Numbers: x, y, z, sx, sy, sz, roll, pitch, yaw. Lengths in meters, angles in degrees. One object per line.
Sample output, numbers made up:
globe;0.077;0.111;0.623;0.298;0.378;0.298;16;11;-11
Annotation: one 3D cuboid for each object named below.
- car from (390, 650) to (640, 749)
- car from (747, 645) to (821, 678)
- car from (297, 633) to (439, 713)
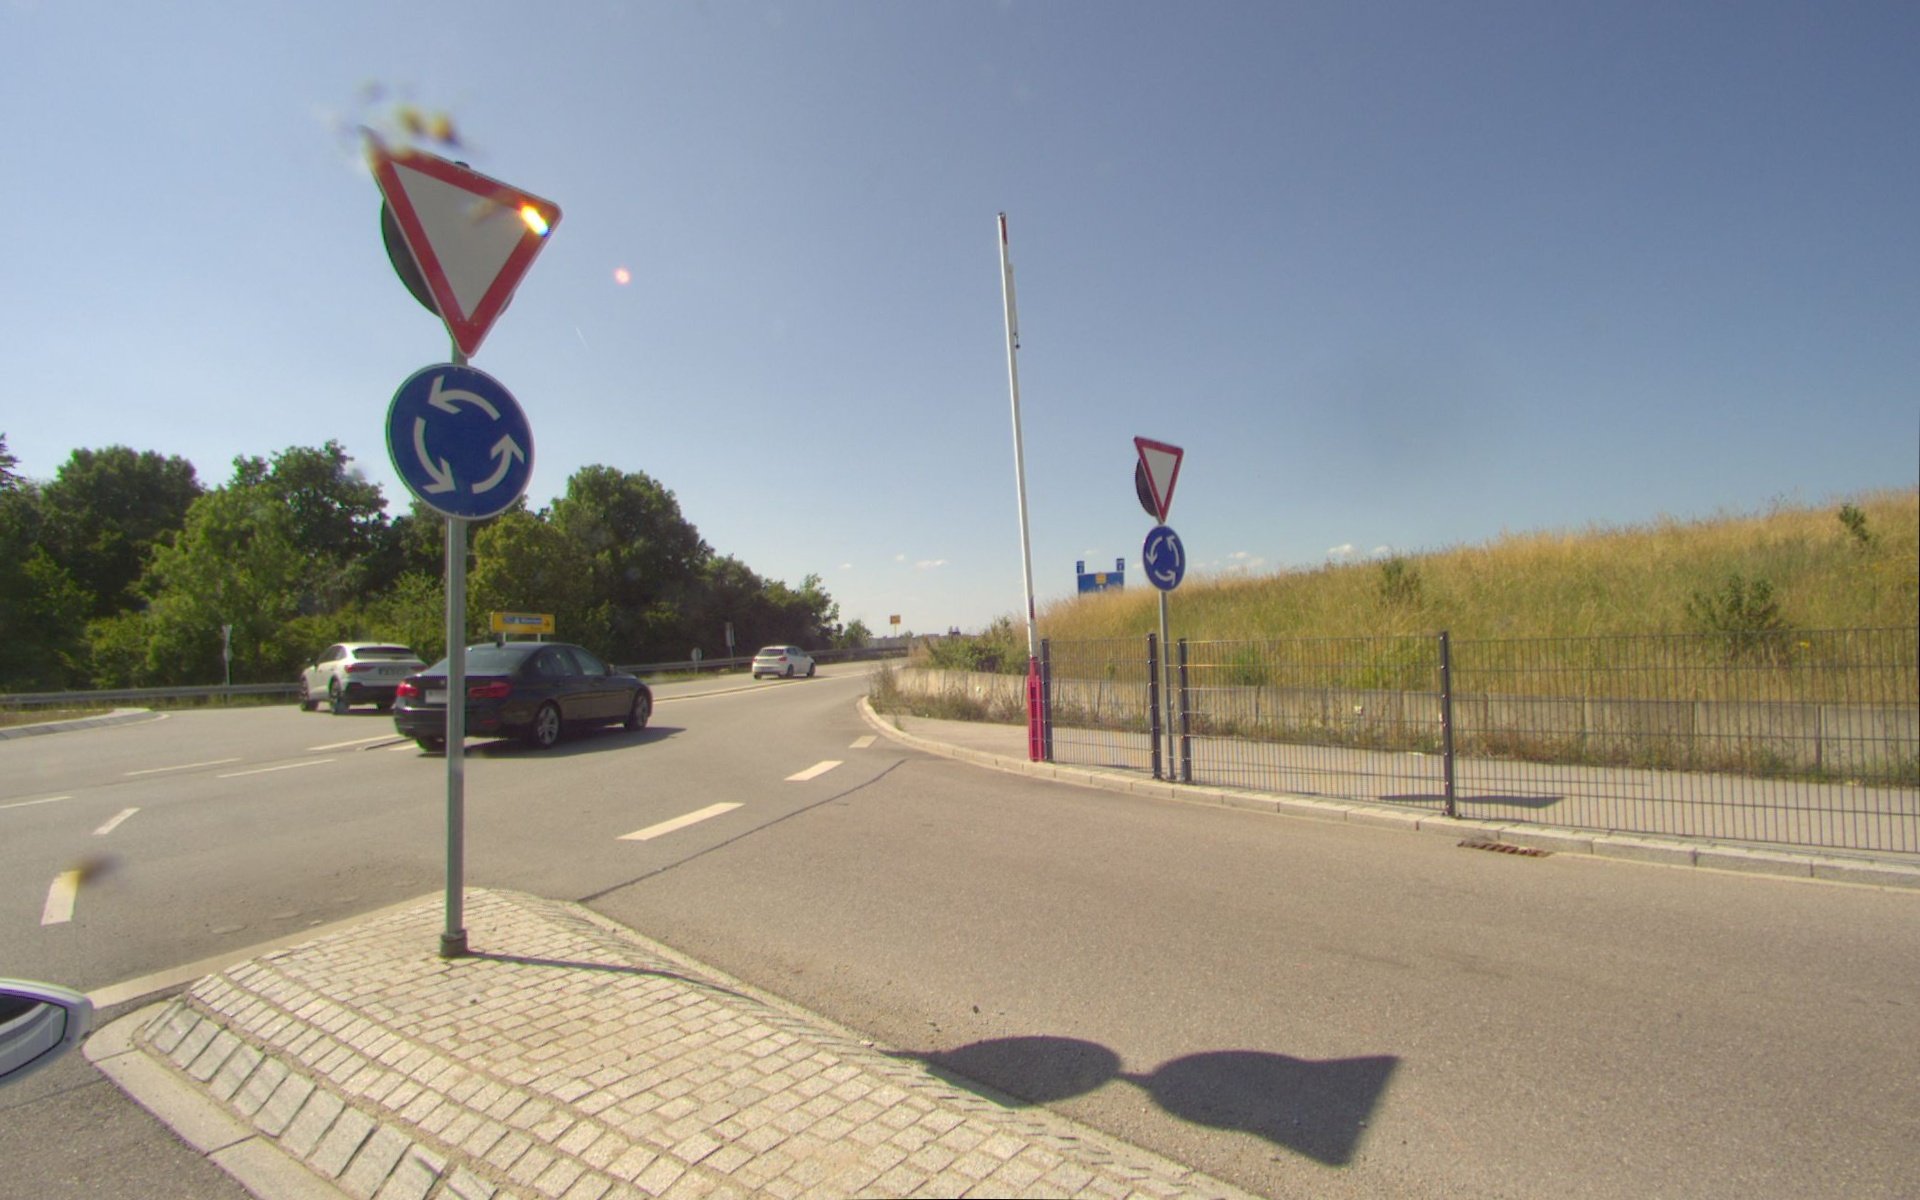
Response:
car;-6.127;1.327;14.308;1.644;1.197;3.867;-1;-3;4
car;-7.897;2.736;45.257;1.758;1.422;4.416;-1;-3;12
car;-13.506;1.602;22.744;1.830;1.616;4.283;1;-2;-44
